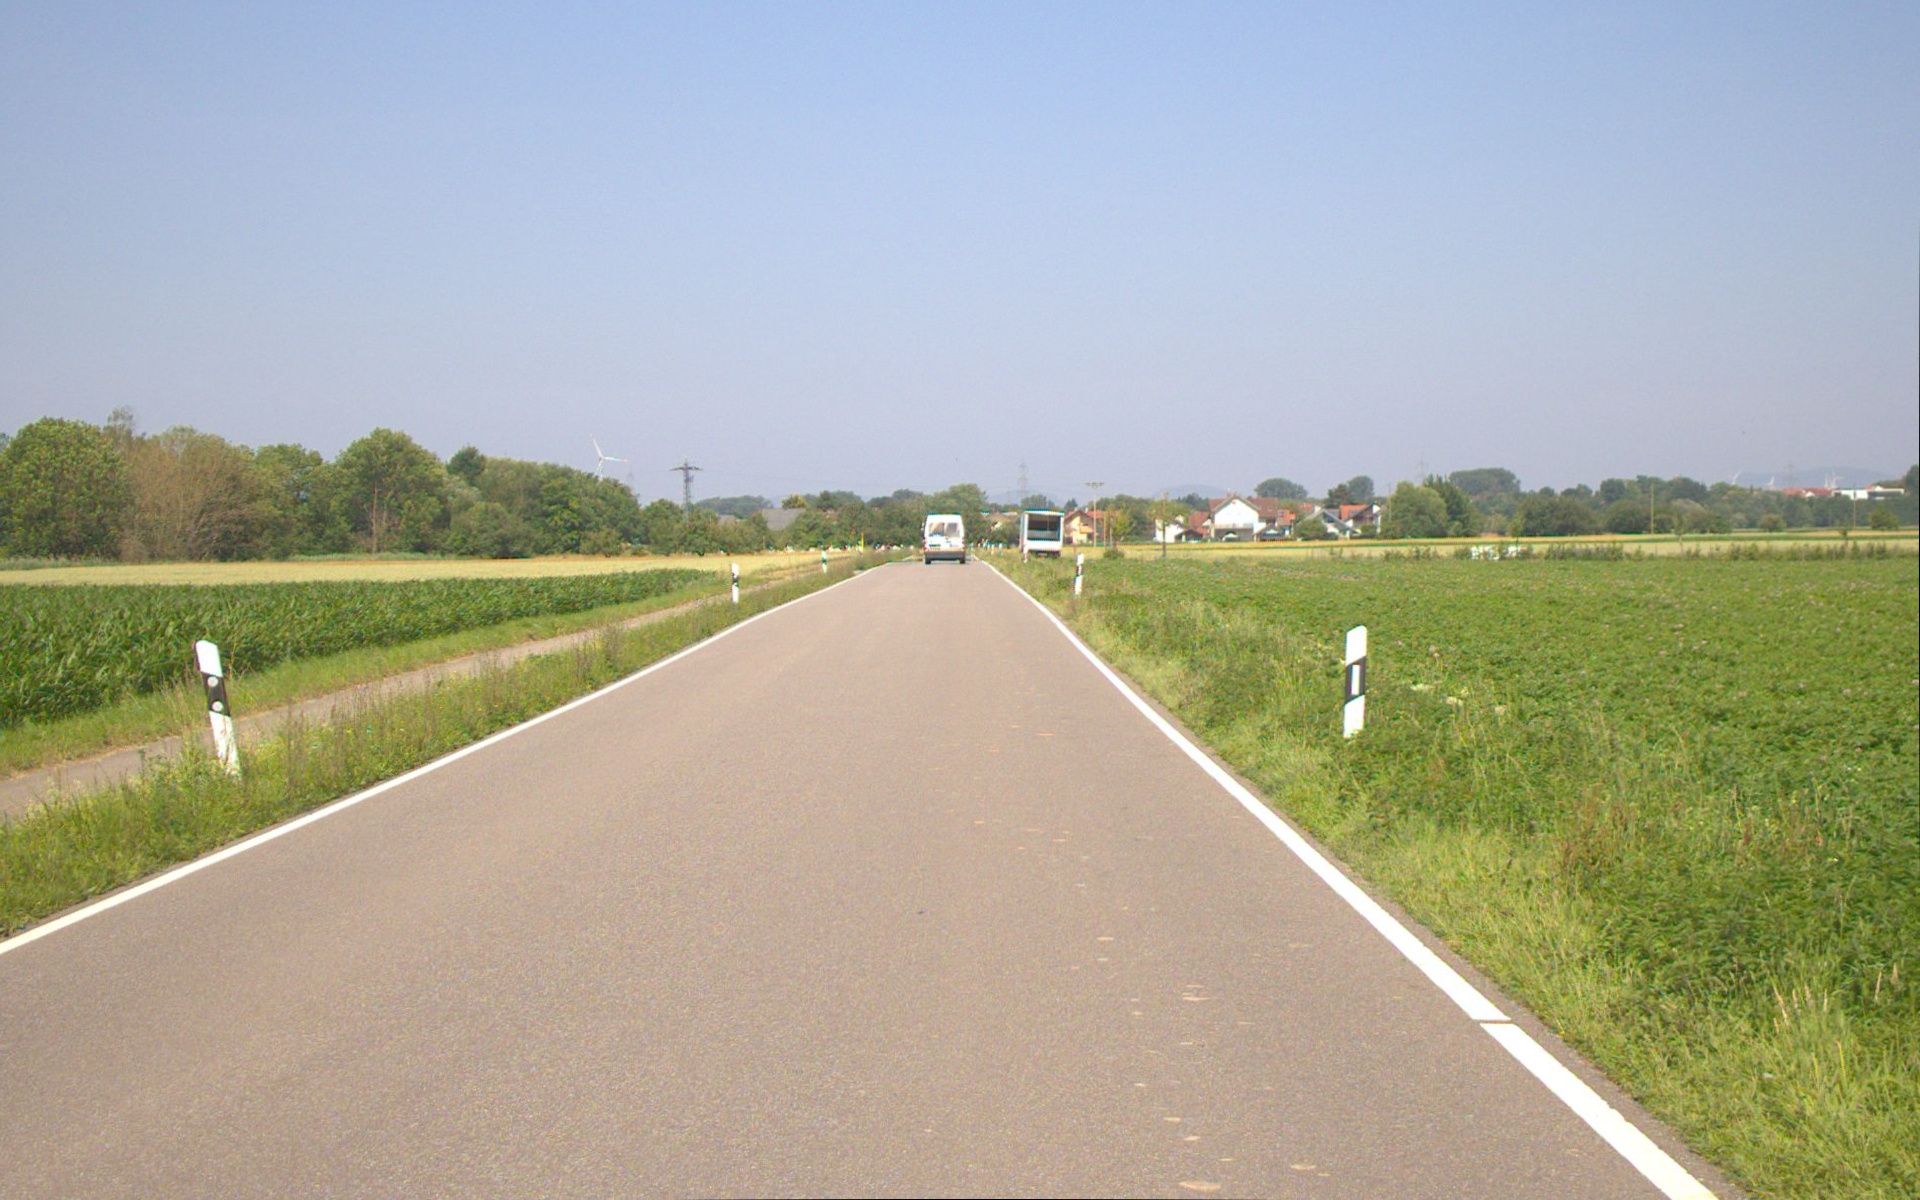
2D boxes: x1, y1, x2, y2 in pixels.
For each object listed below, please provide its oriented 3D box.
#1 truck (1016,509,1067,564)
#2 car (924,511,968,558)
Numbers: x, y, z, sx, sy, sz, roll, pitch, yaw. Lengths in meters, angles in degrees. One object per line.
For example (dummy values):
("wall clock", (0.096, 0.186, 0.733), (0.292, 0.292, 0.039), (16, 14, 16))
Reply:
("truck", (4.543, -3.523, 192.484), (2.335, 2.932, 7.009), (2, 1, -2))
("car", (-0.709, -3.278, 173.315), (2.107, 2.296, 5.496), (1, 1, 0))
